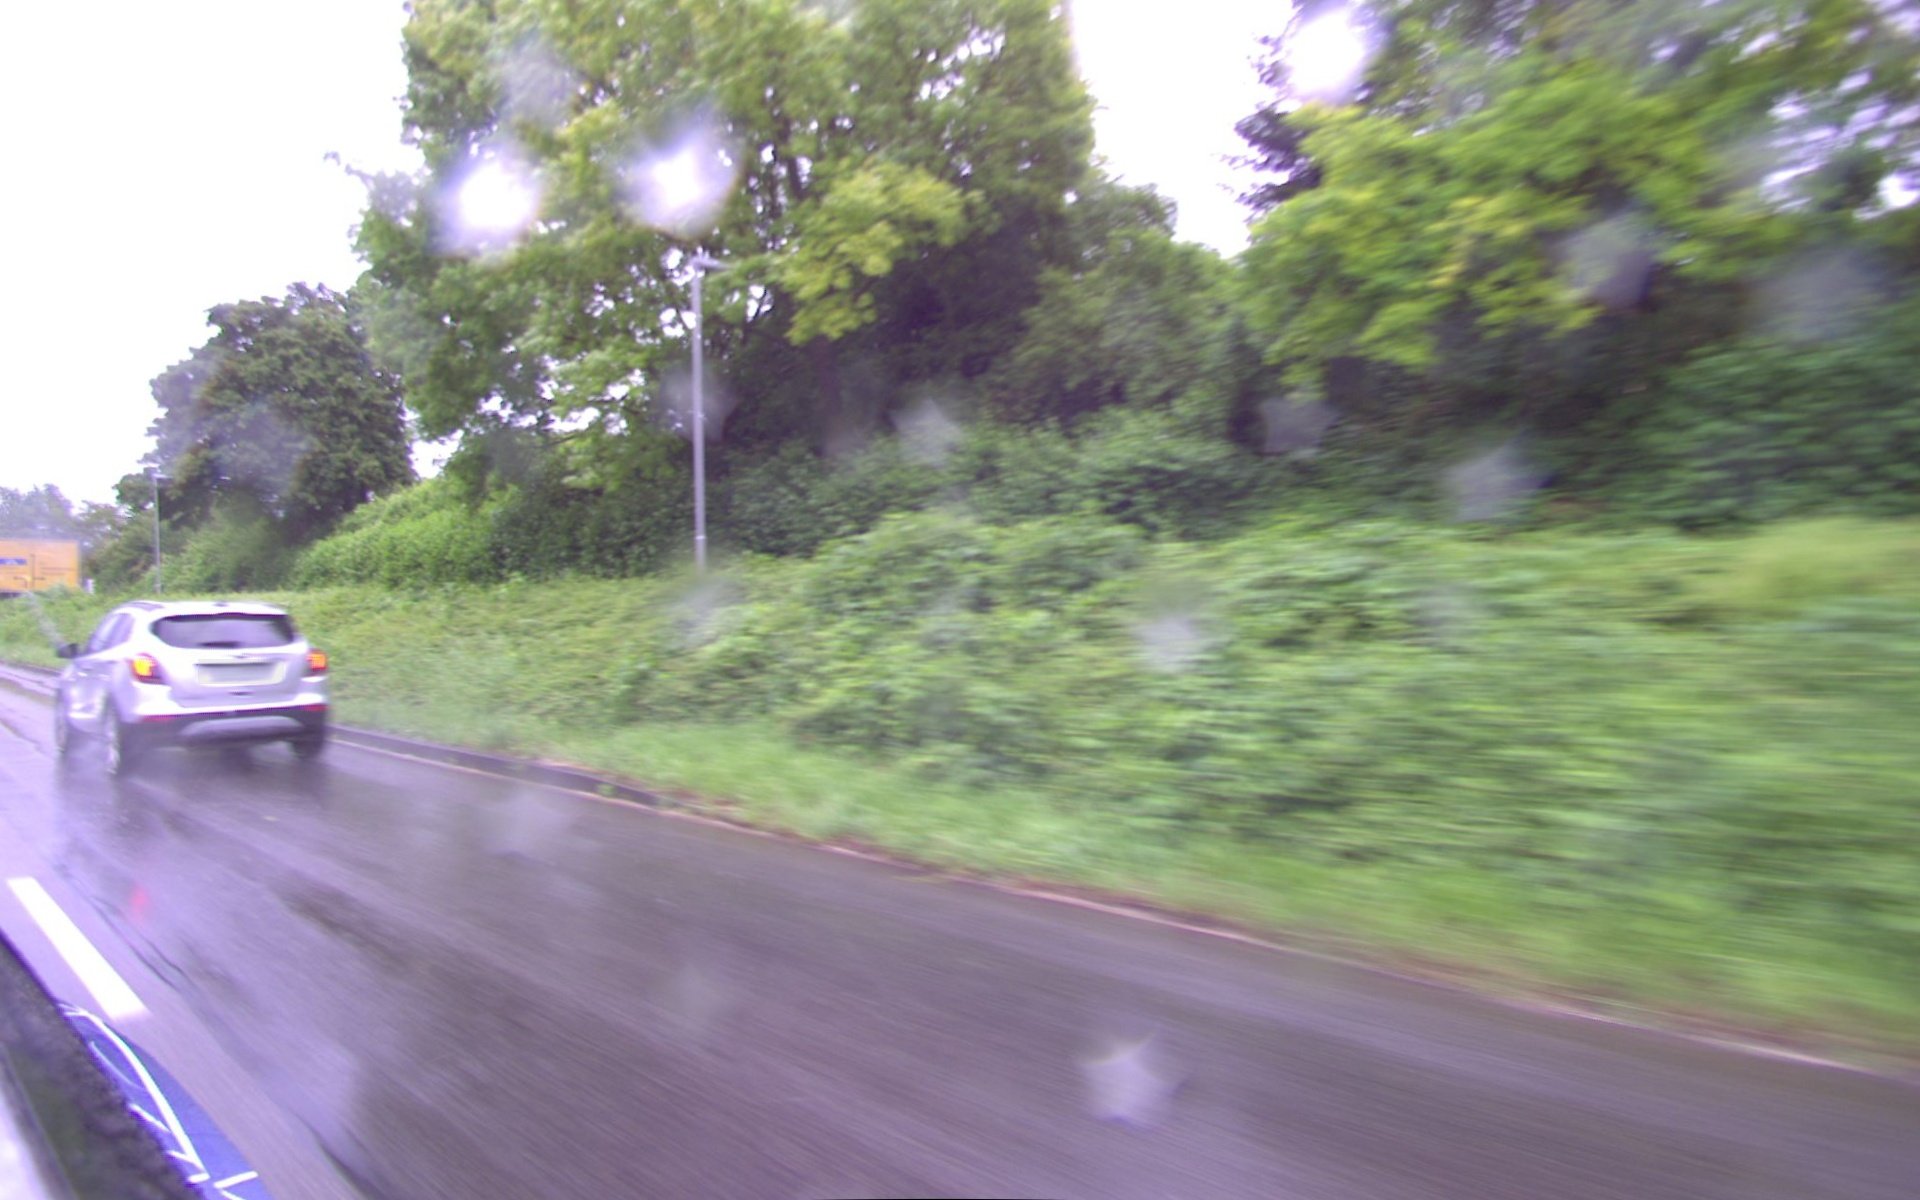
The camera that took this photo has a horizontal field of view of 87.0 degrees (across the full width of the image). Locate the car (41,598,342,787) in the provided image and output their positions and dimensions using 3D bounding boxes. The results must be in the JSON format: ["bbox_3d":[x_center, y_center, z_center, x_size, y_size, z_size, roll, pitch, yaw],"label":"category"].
[{"bbox_3d":[-8.156,0.841,10.635,3.788,1.633,1.742,-2,-2,40],"label":"car"}]
